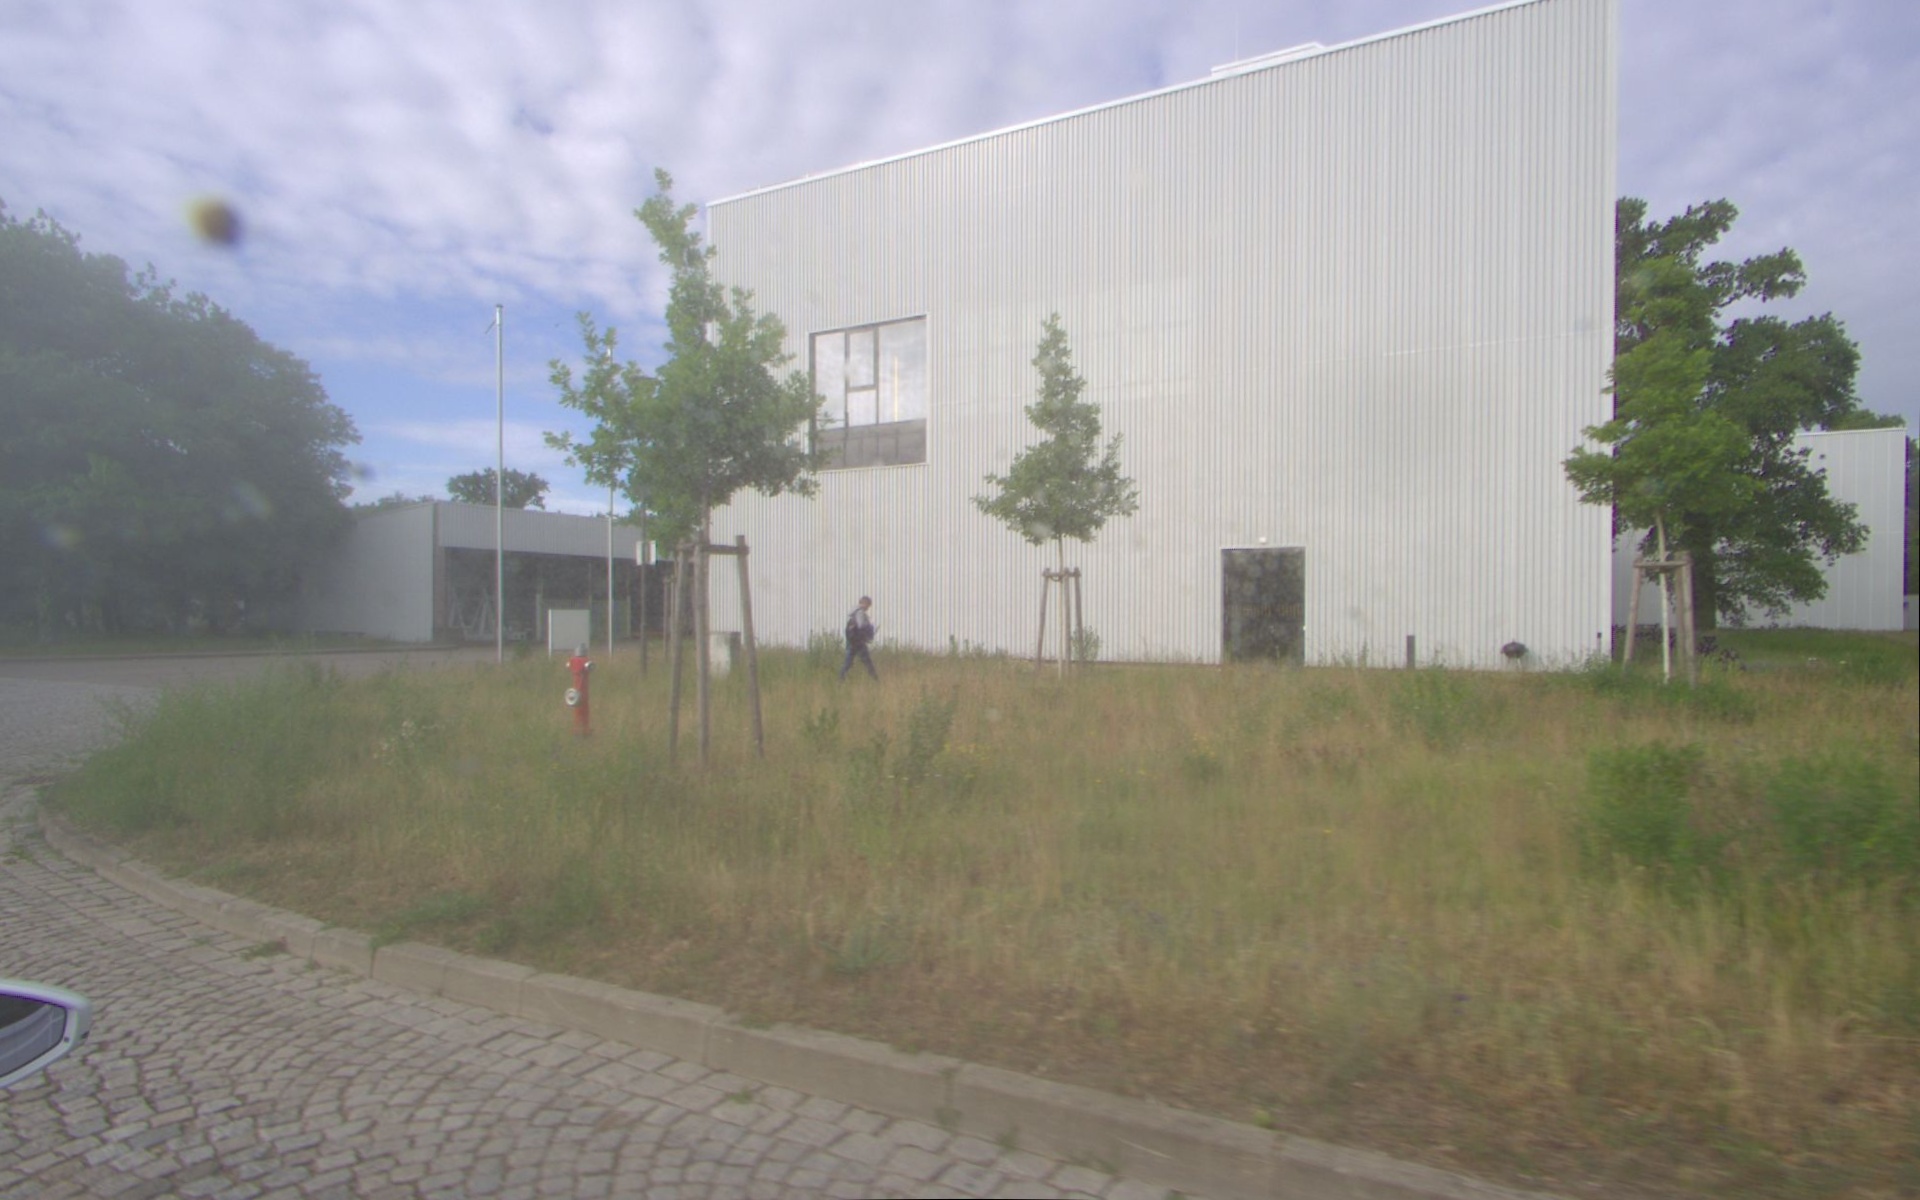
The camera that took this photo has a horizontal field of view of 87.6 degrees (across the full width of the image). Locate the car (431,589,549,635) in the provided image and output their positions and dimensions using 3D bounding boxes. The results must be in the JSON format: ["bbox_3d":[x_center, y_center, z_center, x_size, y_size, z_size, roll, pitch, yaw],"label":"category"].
[{"bbox_3d":[-21.763,0.536,46.366,5.252,2.040,2.240,0,0,27],"label":"car"}]

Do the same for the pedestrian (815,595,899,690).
[{"bbox_3d":[-1.781,0.706,17.270,1.066,1.577,1.067,0,0,-38],"label":"pedestrian"}]
